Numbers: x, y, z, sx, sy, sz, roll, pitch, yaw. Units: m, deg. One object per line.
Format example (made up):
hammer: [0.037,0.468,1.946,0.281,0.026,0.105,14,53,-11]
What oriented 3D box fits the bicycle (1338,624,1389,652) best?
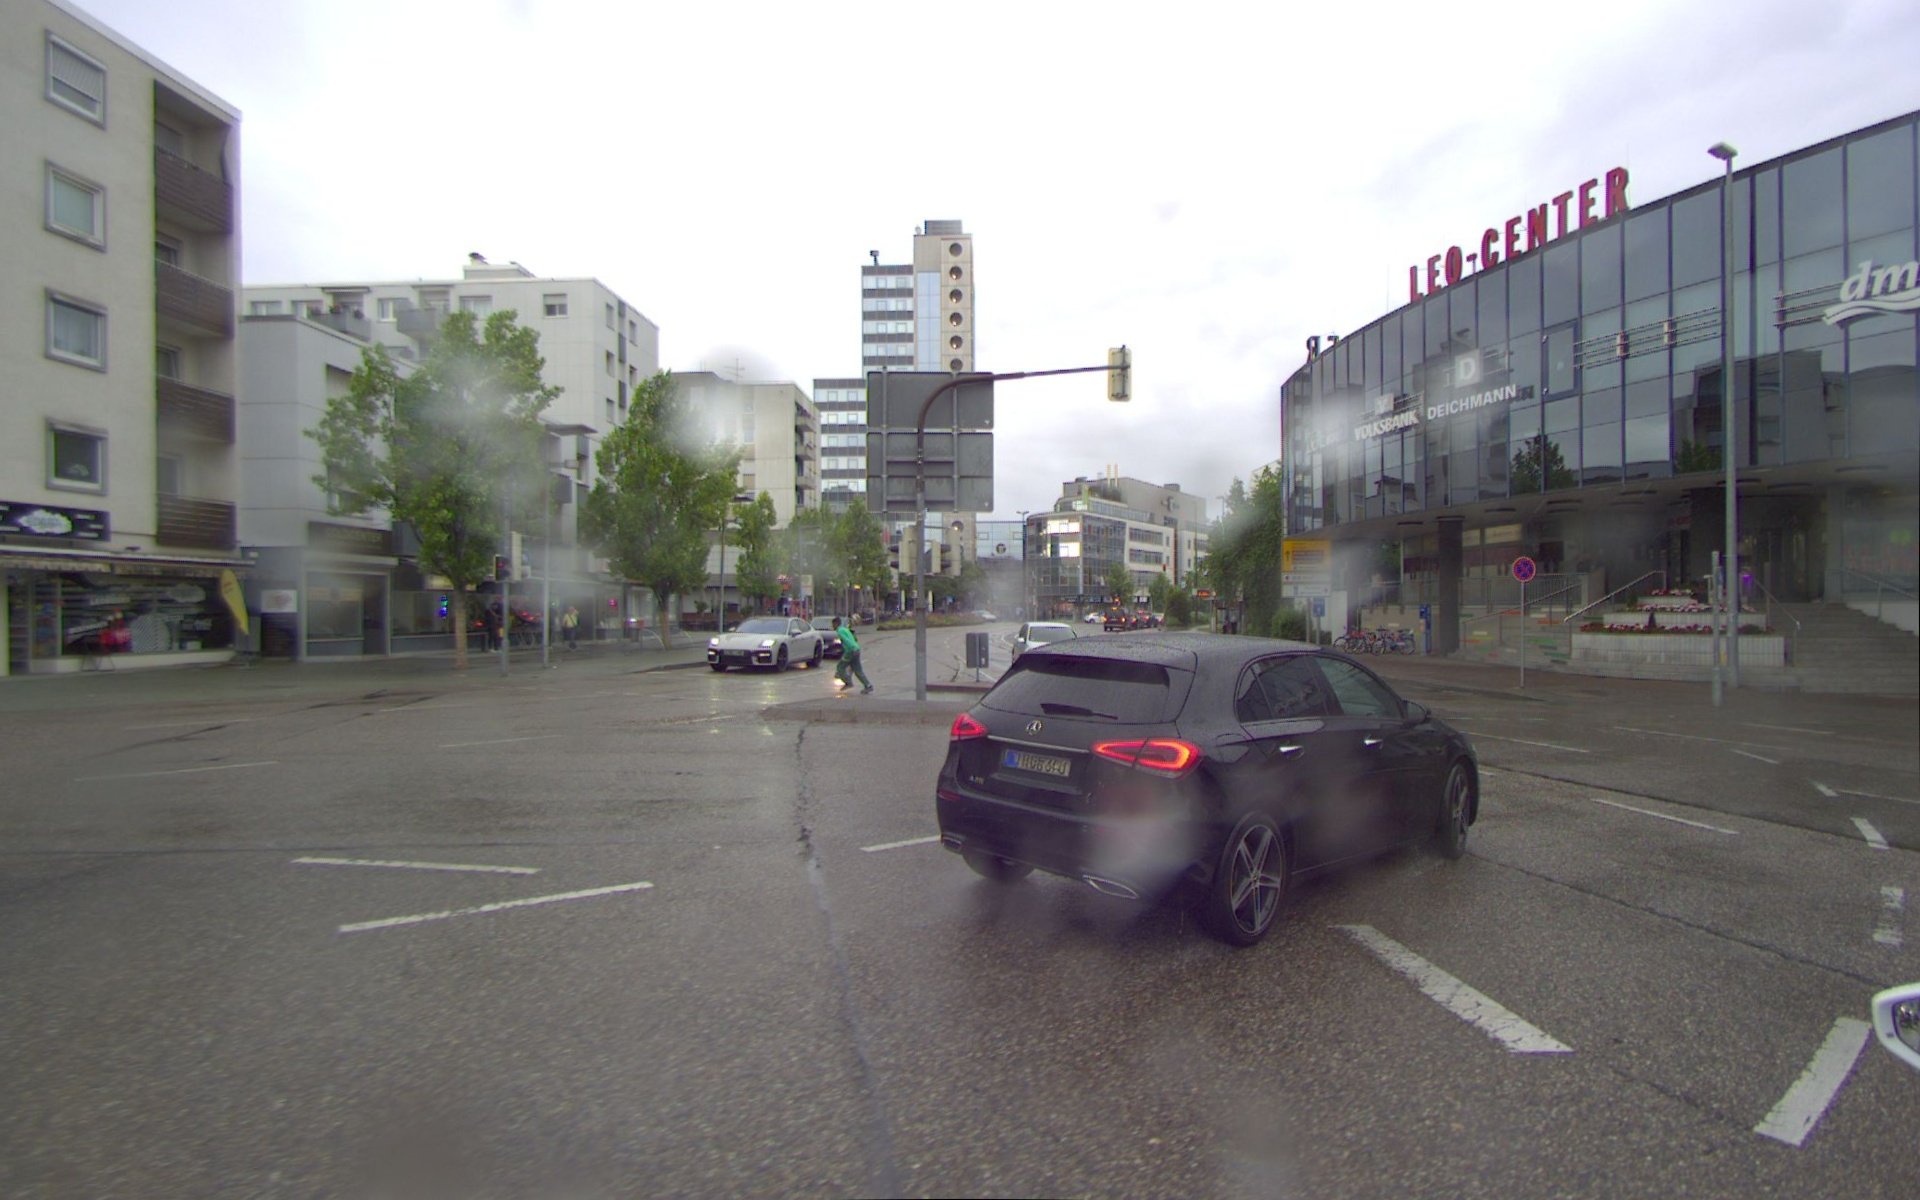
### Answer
bicycle: [16.567,1.566,41.277,1.818,1.047,0.629,-2,-1,-1]

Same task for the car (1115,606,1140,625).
car: [15.548,1.427,92.920,1.855,1.694,4.001,0,0,16]

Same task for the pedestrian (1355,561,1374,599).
pedestrian: [18.324,-0.906,45.522,0.641,1.737,0.600,1,1,5]

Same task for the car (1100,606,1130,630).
car: [13.278,1.529,85.922,2.008,1.921,4.139,1,0,17]

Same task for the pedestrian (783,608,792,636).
pedestrian: [-10.834,1.374,63.150,0.479,1.741,0.538,0,1,-3]

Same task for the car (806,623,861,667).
car: [-4.351,1.520,34.855,1.412,1.314,3.777,1,0,0]

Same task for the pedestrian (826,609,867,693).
pedestrian: [-2.287,1.009,20.167,0.794,1.645,0.951,0,-1,-8]

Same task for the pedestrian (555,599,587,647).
pedestrian: [-14.927,0.873,38.592,0.857,1.835,0.925,0,0,1]

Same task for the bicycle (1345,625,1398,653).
bicycle: [16.580,1.572,40.518,1.818,1.056,0.647,-2,-1,-1]

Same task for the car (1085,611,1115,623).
car: [18.760,2.293,134.795,3.816,1.538,1.785,0,1,0]

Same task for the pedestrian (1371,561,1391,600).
pedestrian: [19.008,-0.891,45.384,0.641,1.737,0.600,1,1,5]

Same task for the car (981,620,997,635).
car: [3.421,3.232,119.789,1.663,1.654,3.513,0,0,5]

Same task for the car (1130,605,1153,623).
car: [17.932,1.359,99.294,1.878,1.748,3.810,1,0,16]

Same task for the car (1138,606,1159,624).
car: [19.893,1.579,105.790,1.798,1.794,3.857,1,0,16]

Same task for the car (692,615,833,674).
car: [-5.351,1.179,28.101,2.080,1.432,5.149,1,-1,11]

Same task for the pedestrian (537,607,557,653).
pedestrian: [-16.360,1.191,39.774,0.556,1.817,0.492,0,-1,7]

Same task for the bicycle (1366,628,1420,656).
bicycle: [16.735,1.618,38.844,1.818,1.036,0.632,-2,-1,-1]

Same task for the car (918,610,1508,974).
car: [1.809,0.869,6.214,4.067,1.501,1.646,2,-1,-44]

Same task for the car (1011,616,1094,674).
car: [2.535,1.219,28.364,1.713,1.460,3.990,0,0,-4]

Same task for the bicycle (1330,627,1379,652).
bicycle: [16.467,1.652,41.977,1.818,0.964,0.536,-2,1,3]

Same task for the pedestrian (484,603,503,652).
pedestrian: [-16.554,0.979,35.632,0.440,1.747,0.500,0,-1,-1]

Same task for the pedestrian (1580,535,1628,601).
pedestrian: [20.363,-1.004,31.768,0.936,2.041,0.830,1,1,-12]

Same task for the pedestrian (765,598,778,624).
pedestrian: [-11.800,0.705,62.836,0.782,1.592,0.636,0,1,-6]
